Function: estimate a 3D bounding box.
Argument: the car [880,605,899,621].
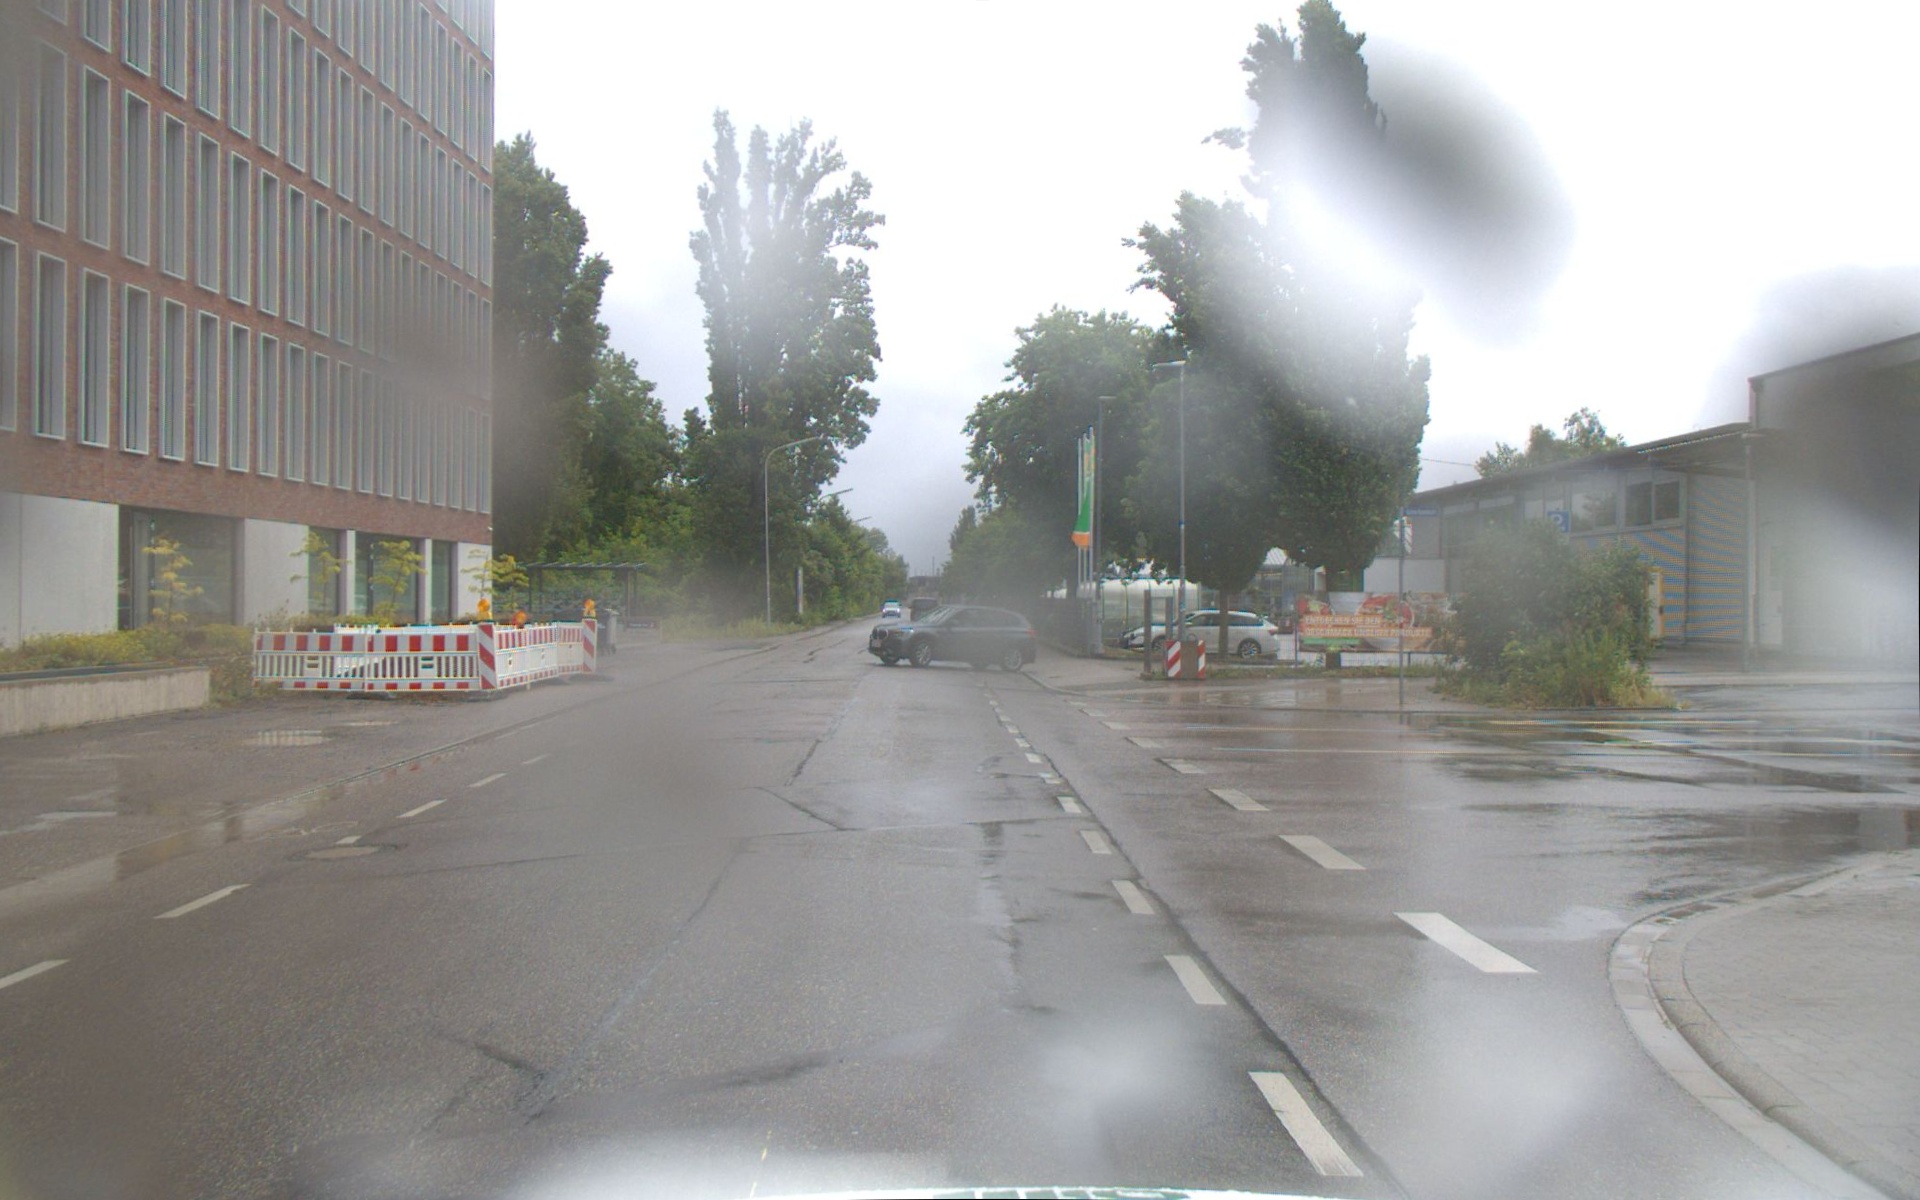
[{"bbox_3d":[-6.923,1.267,163.001,1.698,1.475,4.380,-3,0,0],"label":"car"}]

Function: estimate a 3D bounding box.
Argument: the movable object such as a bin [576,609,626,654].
[{"bbox_3d":[-10.944,0.946,50.511,1.269,1.355,1.358,0,0,-3],"label":"movable object such as a bin"}]

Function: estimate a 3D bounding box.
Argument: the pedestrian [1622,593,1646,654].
[{"bbox_3d":[19.459,0.670,47.752,0.445,1.748,0.433,-2,0,2],"label":"pedestrian"}]

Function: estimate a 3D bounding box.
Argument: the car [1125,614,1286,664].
[{"bbox_3d":[7.456,1.184,50.599,4.609,1.488,1.889,0,0,-3],"label":"car"}]

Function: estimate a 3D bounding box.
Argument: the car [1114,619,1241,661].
[{"bbox_3d":[7.005,1.290,53.434,3.859,1.278,1.618,1,0,-3],"label":"car"}]

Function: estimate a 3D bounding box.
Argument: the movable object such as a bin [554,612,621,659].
[{"bbox_3d":[-10.786,1.009,47.928,1.346,1.331,1.449,0,0,20],"label":"movable object such as a bin"}]

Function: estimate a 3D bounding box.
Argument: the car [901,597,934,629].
[{"bbox_3d":[-2.681,0.832,103.808,1.953,1.944,4.199,-1,-1,-2],"label":"car"}]

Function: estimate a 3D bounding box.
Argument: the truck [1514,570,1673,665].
[{"bbox_3d":[19.603,0.513,51.653,2.253,2.706,7.418,-2,0,2],"label":"truck"}]

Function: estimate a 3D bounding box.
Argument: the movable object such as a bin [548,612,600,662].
[{"bbox_3d":[-10.735,1.020,46.070,1.271,1.331,1.446,0,0,-7],"label":"movable object such as a bin"}]

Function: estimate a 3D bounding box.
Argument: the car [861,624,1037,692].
[{"bbox_3d":[-0.258,1.422,41.326,4.091,1.596,1.748,0,-2,-30],"label":"car"}]
